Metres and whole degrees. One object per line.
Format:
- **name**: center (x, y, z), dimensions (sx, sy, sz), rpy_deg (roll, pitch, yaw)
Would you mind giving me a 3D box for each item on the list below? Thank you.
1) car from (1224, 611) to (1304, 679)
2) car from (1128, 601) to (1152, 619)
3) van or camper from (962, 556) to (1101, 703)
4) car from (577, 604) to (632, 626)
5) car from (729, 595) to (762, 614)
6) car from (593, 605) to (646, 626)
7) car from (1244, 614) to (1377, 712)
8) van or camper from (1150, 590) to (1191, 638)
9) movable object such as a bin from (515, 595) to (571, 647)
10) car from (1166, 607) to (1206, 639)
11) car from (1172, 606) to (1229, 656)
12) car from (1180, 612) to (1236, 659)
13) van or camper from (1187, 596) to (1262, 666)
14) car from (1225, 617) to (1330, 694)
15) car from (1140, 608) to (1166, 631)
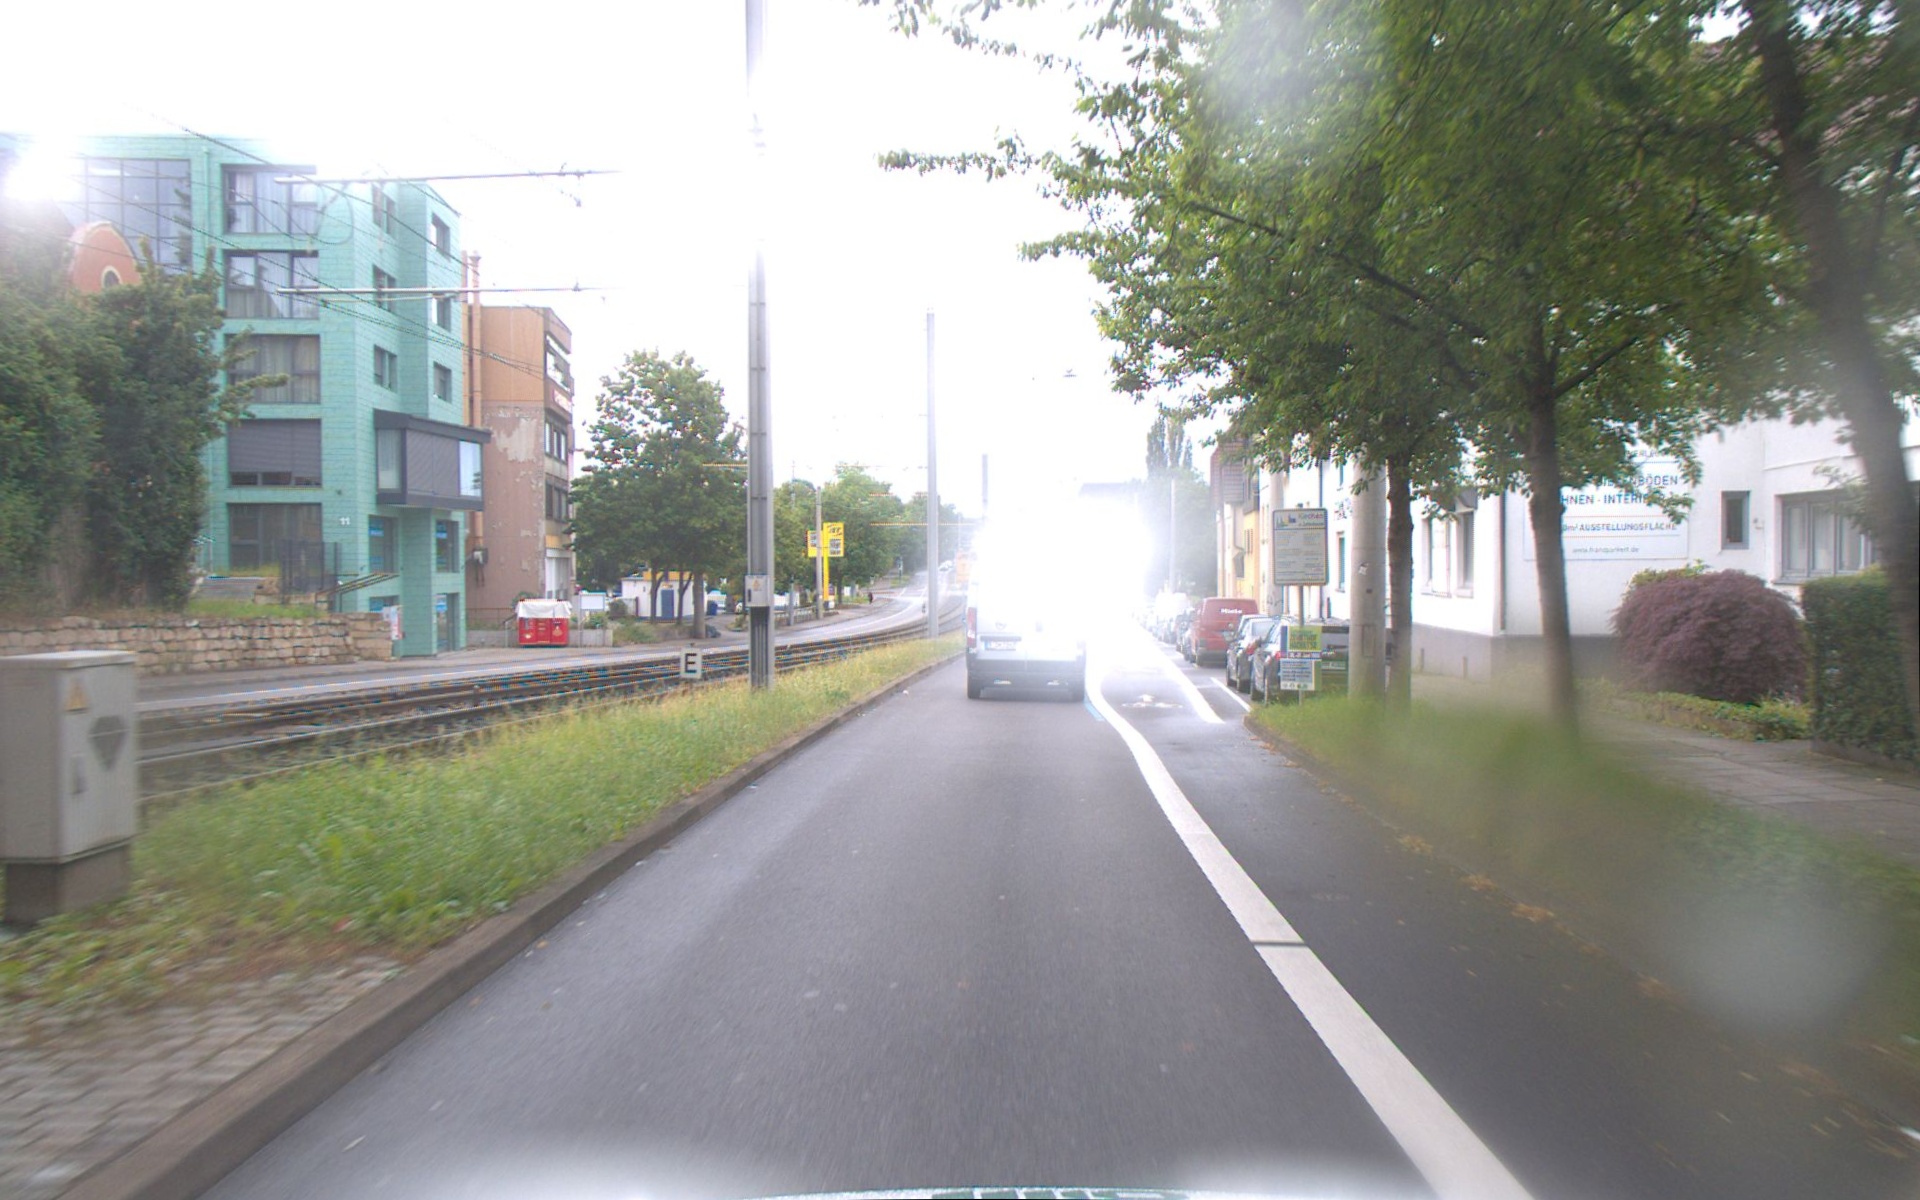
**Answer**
- **car**: center (6.979, 1.037, 38.241), dimensions (1.544, 1.477, 3.722), rpy_deg (0, -1, 6)
- **car**: center (16.035, 0.918, 147.378), dimensions (1.809, 1.526, 3.956), rpy_deg (1, 0, 3)
- **van or camper**: center (1.168, 0.488, 28.757), dimensions (2.154, 2.292, 4.684), rpy_deg (2, 0, 1)
- **car**: center (-26.041, 1.114, 121.099), dimensions (3.711, 1.479, 1.542), rpy_deg (2, -1, -22)
- **car**: center (-17.550, 0.390, 135.524), dimensions (1.952, 1.467, 4.001), rpy_deg (2, 0, 2)
- **car**: center (-25.928, 1.170, 125.807), dimensions (3.711, 1.505, 1.565), rpy_deg (2, -1, -22)
- **car**: center (5.709, 0.974, 27.361), dimensions (1.641, 1.448, 4.568), rpy_deg (1, -1, 6)
- **van or camper**: center (12.300, 0.782, 96.985), dimensions (1.952, 2.608, 6.046), rpy_deg (2, 1, 4)
- **movable object such as a bin**: center (-18.582, 0.942, 73.778), dimensions (2.092, 2.194, 1.801), rpy_deg (2, 1, -5)
- **car**: center (11.466, 1.155, 84.045), dimensions (1.533, 1.524, 3.513), rpy_deg (2, 0, 1)
- **car**: center (9.421, 1.176, 65.101), dimensions (1.801, 1.832, 4.688), rpy_deg (2, 0, 4)
- **car**: center (8.951, 1.258, 59.937), dimensions (1.599, 1.565, 4.137), rpy_deg (2, 0, 4)
- **van or camper**: center (7.783, 0.891, 49.099), dimensions (1.812, 1.954, 4.997), rpy_deg (0, -1, 5)
- **car**: center (6.326, 1.058, 33.329), dimensions (1.675, 1.437, 4.568), rpy_deg (0, -1, 6)
- **car**: center (13.742, 1.379, 118.094), dimensions (1.612, 1.471, 3.956), rpy_deg (2, 0, 4)
